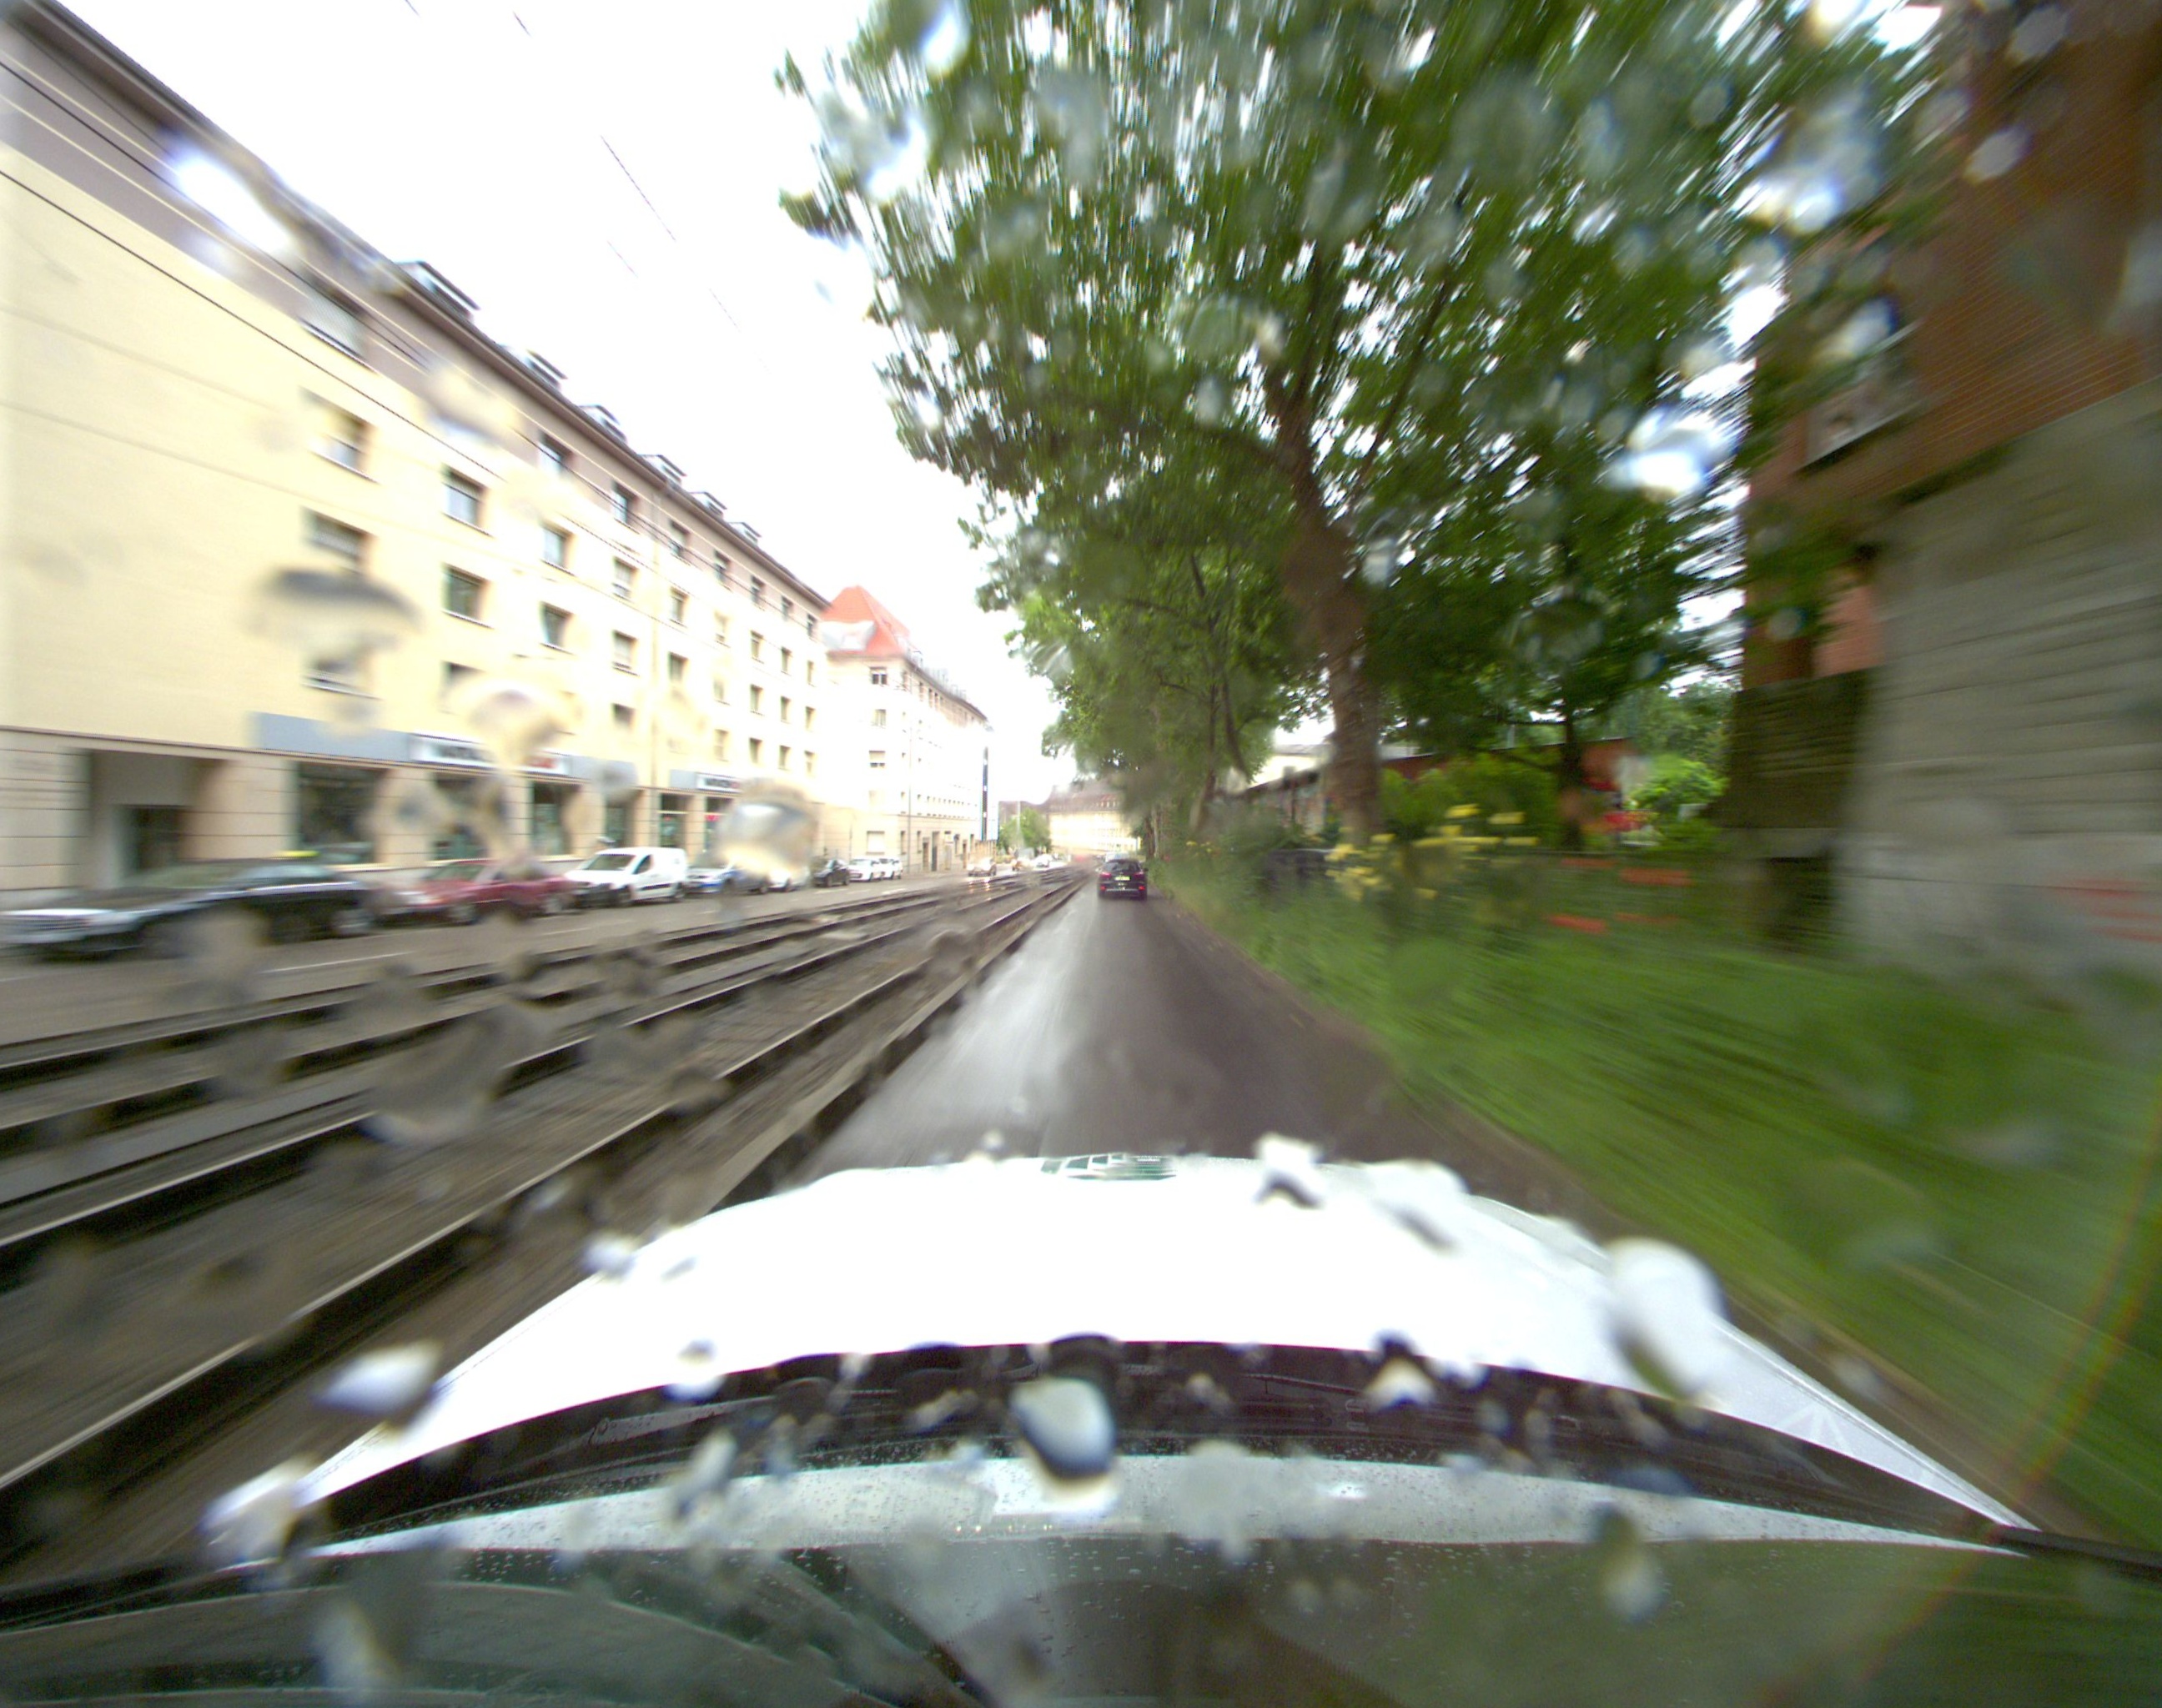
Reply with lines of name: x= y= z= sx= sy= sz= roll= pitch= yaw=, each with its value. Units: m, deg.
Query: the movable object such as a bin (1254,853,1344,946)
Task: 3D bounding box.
movable object such as a bin: x=3.726 y=0.737 z=13.846 sx=1.389 sy=1.452 sz=1.222 roll=-1 pitch=2 yaw=18

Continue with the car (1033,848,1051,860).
car: x=-5.219 y=-0.021 z=110.022 sx=1.872 sy=1.486 sz=4.859 roll=1 pitch=2 yaw=3

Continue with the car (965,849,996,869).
car: x=-8.097 y=0.404 z=65.986 sx=1.704 sy=1.462 sz=4.285 roll=0 pitch=1 yaw=4

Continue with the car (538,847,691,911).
car: x=-14.054 y=0.666 z=24.873 sx=1.859 sy=1.716 sz=4.465 roll=1 pitch=1 yaw=4

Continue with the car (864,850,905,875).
car: x=-12.817 y=0.524 z=53.304 sx=1.702 sy=1.449 sz=3.542 roll=3 pitch=1 yaw=0

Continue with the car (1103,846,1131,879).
car: x=2.300 y=0.497 z=52.764 sx=1.734 sy=2.013 sz=3.904 roll=1 pitch=1 yaw=1

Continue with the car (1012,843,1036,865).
car: x=-6.384 y=-0.023 z=91.944 sx=1.985 sy=2.451 sz=6.003 roll=1 pitch=0 yaw=3

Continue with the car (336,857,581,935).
car: x=-14.277 y=0.871 z=19.143 sx=1.844 sy=1.432 sz=4.836 roll=2 pitch=1 yaw=3

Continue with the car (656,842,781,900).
car: x=-13.619 y=0.549 z=31.052 sx=1.985 sy=1.904 sz=5.465 roll=2 pitch=1 yaw=4

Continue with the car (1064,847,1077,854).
car: x=-2.648 y=-0.947 z=208.295 sx=2.003 sy=1.542 sz=3.968 roll=-1 pitch=2 yaw=-24

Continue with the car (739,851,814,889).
car: x=-13.399 y=0.673 z=36.073 sx=1.685 sy=1.439 sz=4.049 roll=-3 pitch=1 yaw=1

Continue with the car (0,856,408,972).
car: x=-14.312 y=0.843 z=13.779 sx=1.847 sy=1.508 sz=4.987 roll=1 pitch=1 yaw=-3

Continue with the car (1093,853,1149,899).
car: x=1.445 y=0.766 z=30.520 sx=1.926 sy=1.452 sz=4.319 roll=2 pitch=1 yaw=1

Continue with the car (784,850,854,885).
car: x=-13.094 y=0.622 z=40.990 sx=1.806 sy=1.498 sz=4.586 roll=2 pitch=1 yaw=2

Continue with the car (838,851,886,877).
car: x=-12.986 y=0.582 z=48.600 sx=1.698 sy=1.396 sz=3.937 roll=1 pitch=1 yaw=1
